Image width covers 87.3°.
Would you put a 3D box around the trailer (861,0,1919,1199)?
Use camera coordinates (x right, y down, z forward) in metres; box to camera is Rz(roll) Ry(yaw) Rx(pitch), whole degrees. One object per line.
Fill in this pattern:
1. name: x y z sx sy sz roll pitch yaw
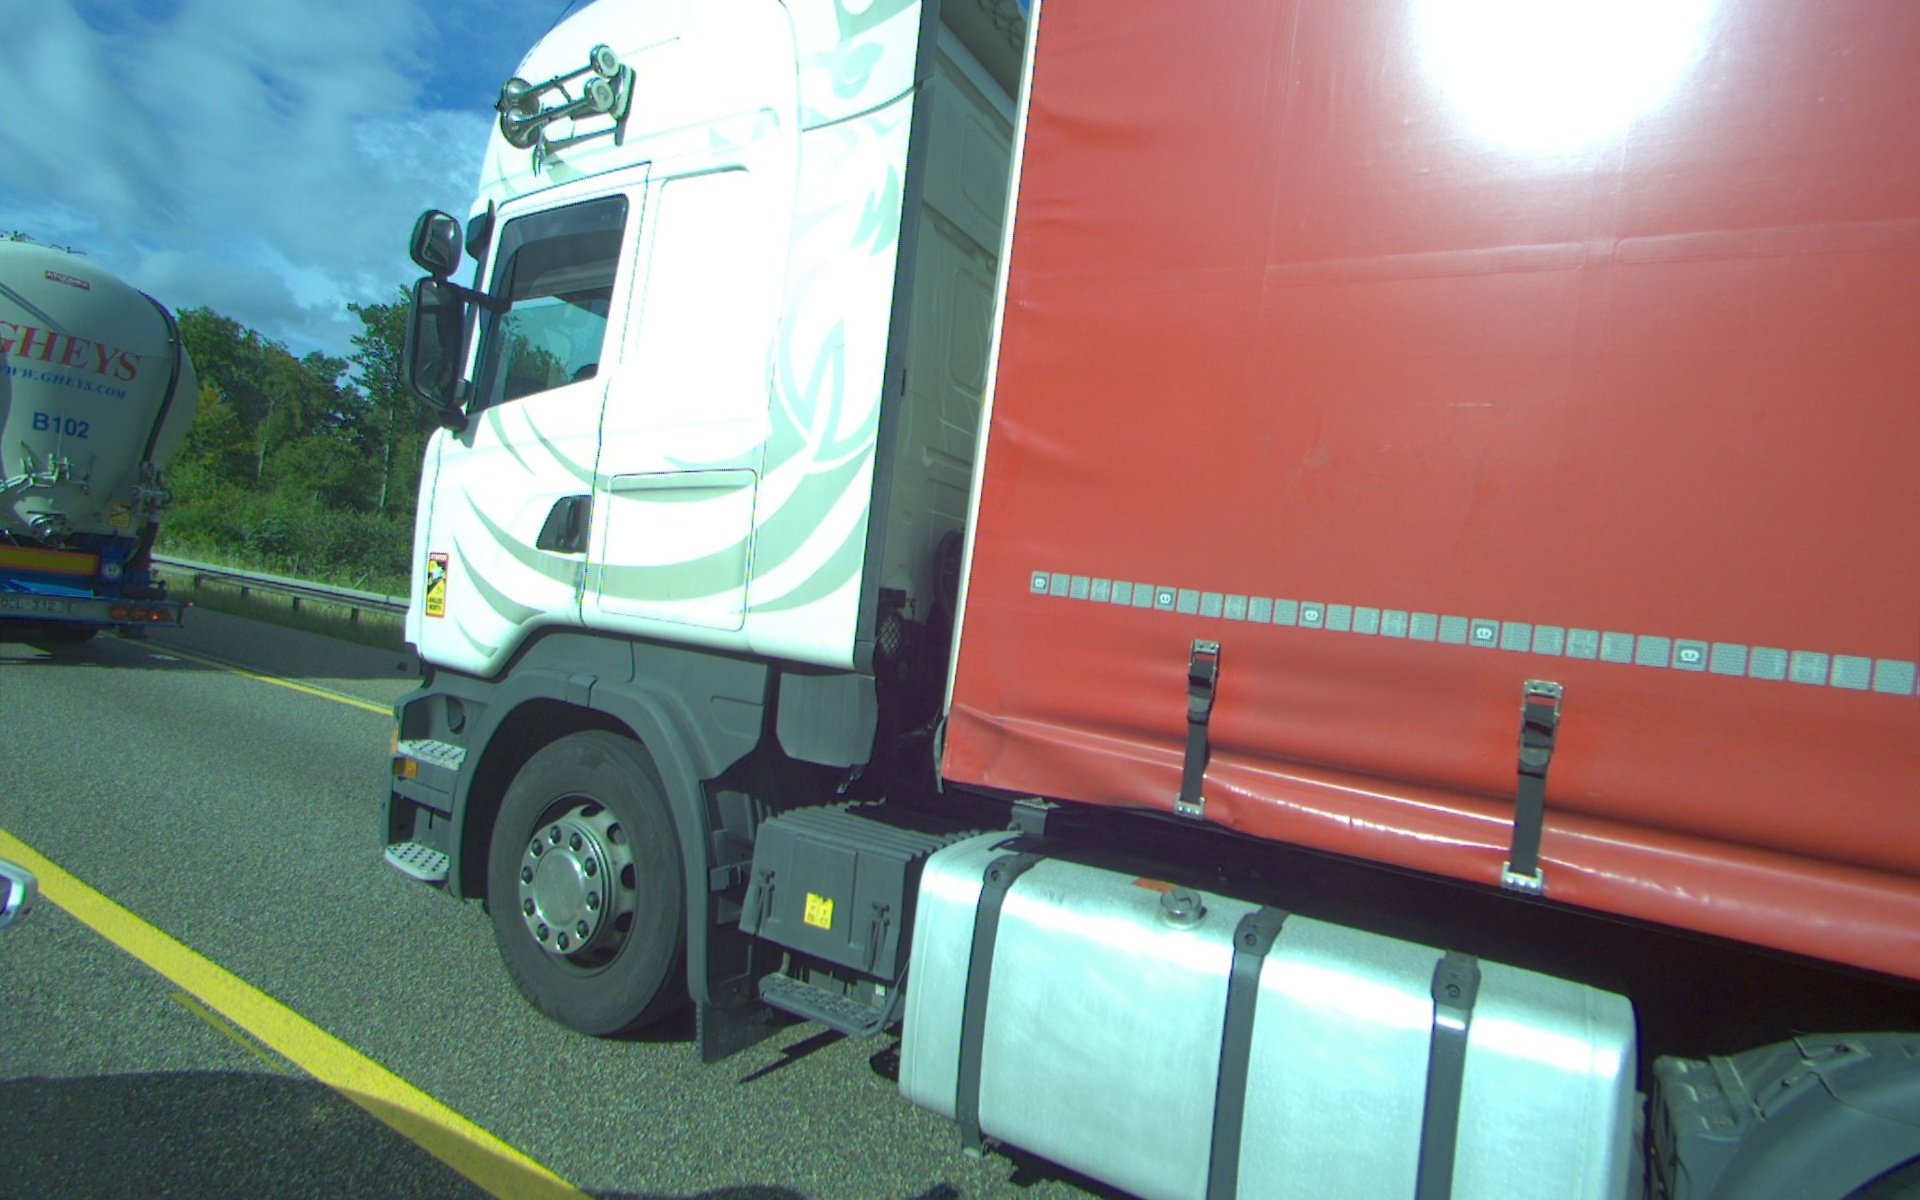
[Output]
1. trailer: 6.311 0.163 0.215 13.192 4.014 2.706 6 -2 31

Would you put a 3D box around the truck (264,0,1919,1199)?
1. truck: 0.611 -0.479 3.640 5.614 4.006 2.673 7 -1 31

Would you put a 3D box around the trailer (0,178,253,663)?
1. trailer: -13.242 -2.093 12.113 12.387 3.989 2.649 7 -2 31
